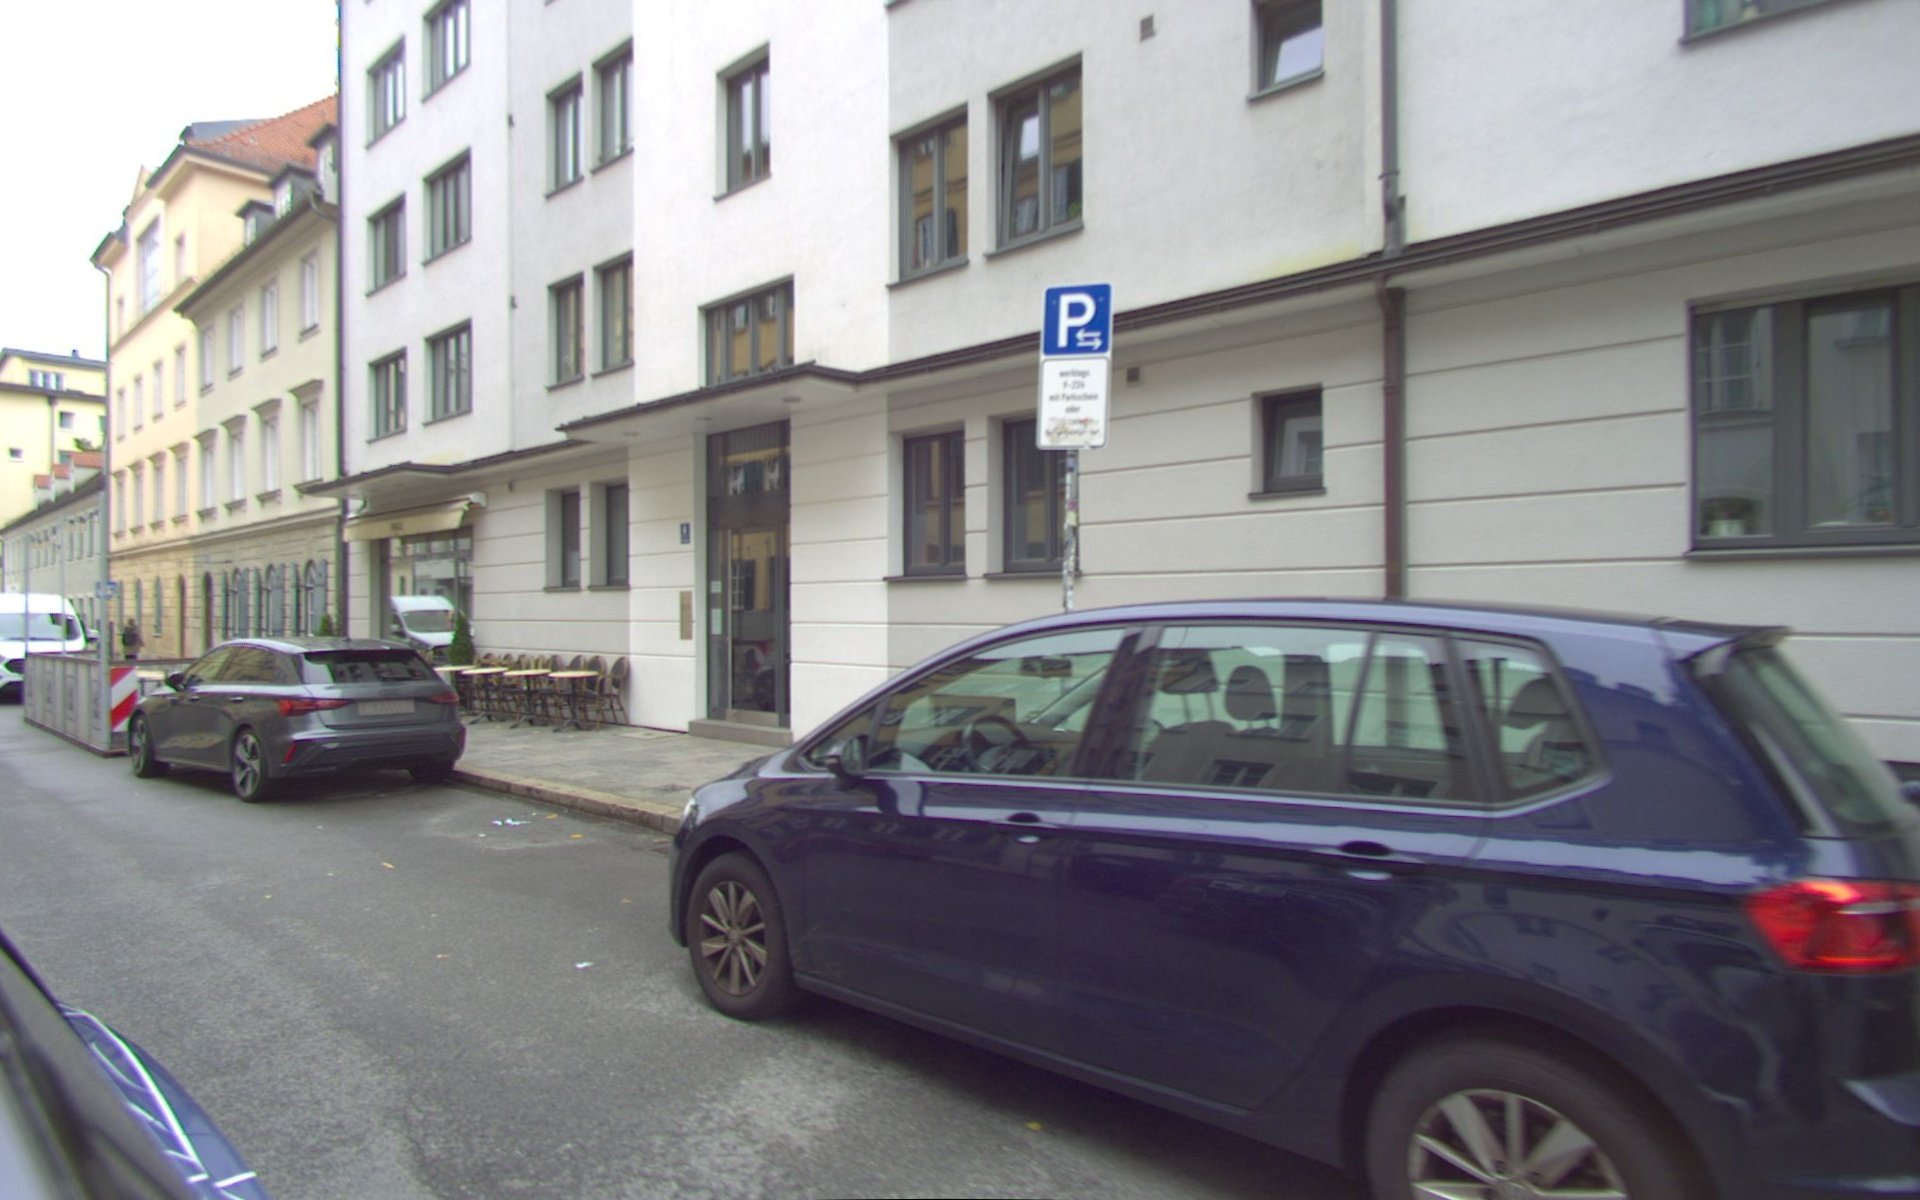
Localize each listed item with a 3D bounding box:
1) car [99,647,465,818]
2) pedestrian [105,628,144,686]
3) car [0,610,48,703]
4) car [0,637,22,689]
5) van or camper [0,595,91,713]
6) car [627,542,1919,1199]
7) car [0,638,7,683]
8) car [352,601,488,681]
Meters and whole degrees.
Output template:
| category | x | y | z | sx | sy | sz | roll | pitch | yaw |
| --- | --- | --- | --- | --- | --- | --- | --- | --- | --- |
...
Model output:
| category | x | y | z | sx | sy | sz | roll | pitch | yaw |
| --- | --- | --- | --- | --- | --- | --- | --- | --- | --- |
| car | -6.762 | 1.146 | 9.975 | 4.049 | 1.365 | 1.624 | -2 | -3 | 35 |
| pedestrian | -25.620 | 1.732 | 31.039 | 1.021 | 1.725 | 0.797 | -2 | -2 | 42 |
| car | -24.707 | 1.417 | 25.595 | 4.557 | 2.218 | 1.839 | -2 | -1 | 40 |
| car | -28.702 | 1.820 | 29.218 | 4.265 | 1.412 | 1.839 | -2 | -1 | 40 |
| van or camper | -20.768 | 1.136 | 22.209 | 5.478 | 2.329 | 1.972 | -2 | -2 | 43 |
| car | 0.797 | 0.764 | 3.413 | 4.156 | 1.551 | 1.755 | -2 | -4 | 41 |
| car | -32.221 | 1.946 | 32.432 | 4.264 | 1.412 | 1.839 | -2 | -1 | 38 |
| car | -15.010 | 1.110 | 28.053 | 4.399 | 2.029 | 1.972 | -2 | -2 | 42 |
